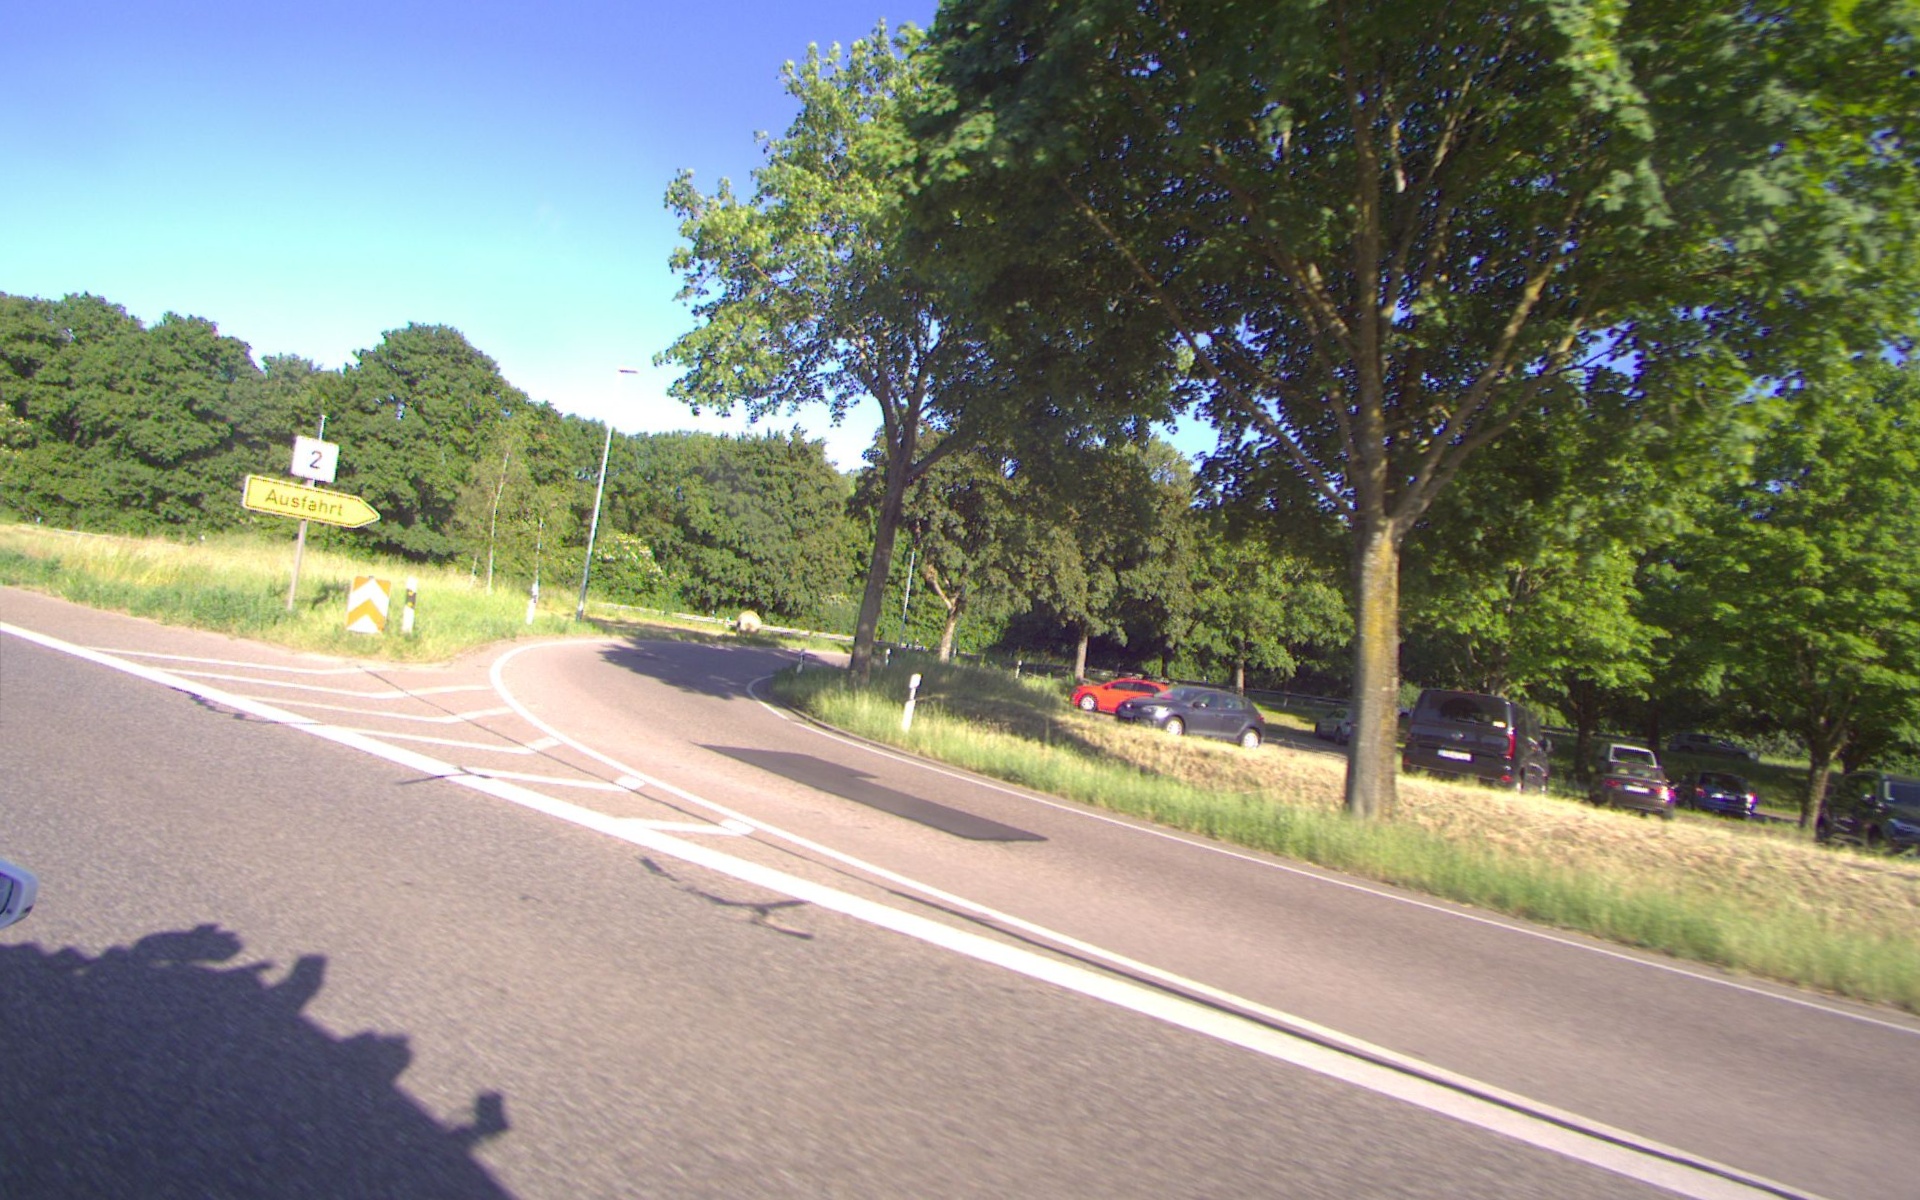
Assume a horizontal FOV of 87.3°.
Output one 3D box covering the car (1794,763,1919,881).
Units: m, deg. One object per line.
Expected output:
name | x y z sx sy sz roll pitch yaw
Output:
car | 16.041 3.742 16.693 2.186 1.695 4.877 6 -6 27

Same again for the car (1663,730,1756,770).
car | 43.323 8.636 58.226 3.931 1.594 1.909 7 -2 29

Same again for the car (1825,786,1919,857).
car | 27.470 6.596 30.073 2.009 1.678 4.652 5 -6 37

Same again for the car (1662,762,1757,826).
car | 23.966 6.212 32.333 2.007 1.572 4.869 5 -6 33

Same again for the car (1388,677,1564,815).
car | 10.362 2.966 19.960 2.063 2.157 5.041 5 -6 38

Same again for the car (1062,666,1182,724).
car | 5.970 3.474 36.858 4.070 1.479 1.706 7 -3 14

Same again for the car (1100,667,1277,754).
car | 5.875 2.843 25.758 4.184 1.575 1.777 11 -5 -28

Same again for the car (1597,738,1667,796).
car | 28.261 6.963 42.433 1.924 1.886 5.203 6 -3 30

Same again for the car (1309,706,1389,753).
car | 17.656 5.852 45.864 1.755 1.577 4.231 8 -3 -1

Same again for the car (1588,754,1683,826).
car | 18.614 5.172 27.825 1.951 1.425 4.130 5 -3 33

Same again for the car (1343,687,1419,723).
car | 26.528 6.589 63.505 3.924 1.594 1.912 8 -2 7
